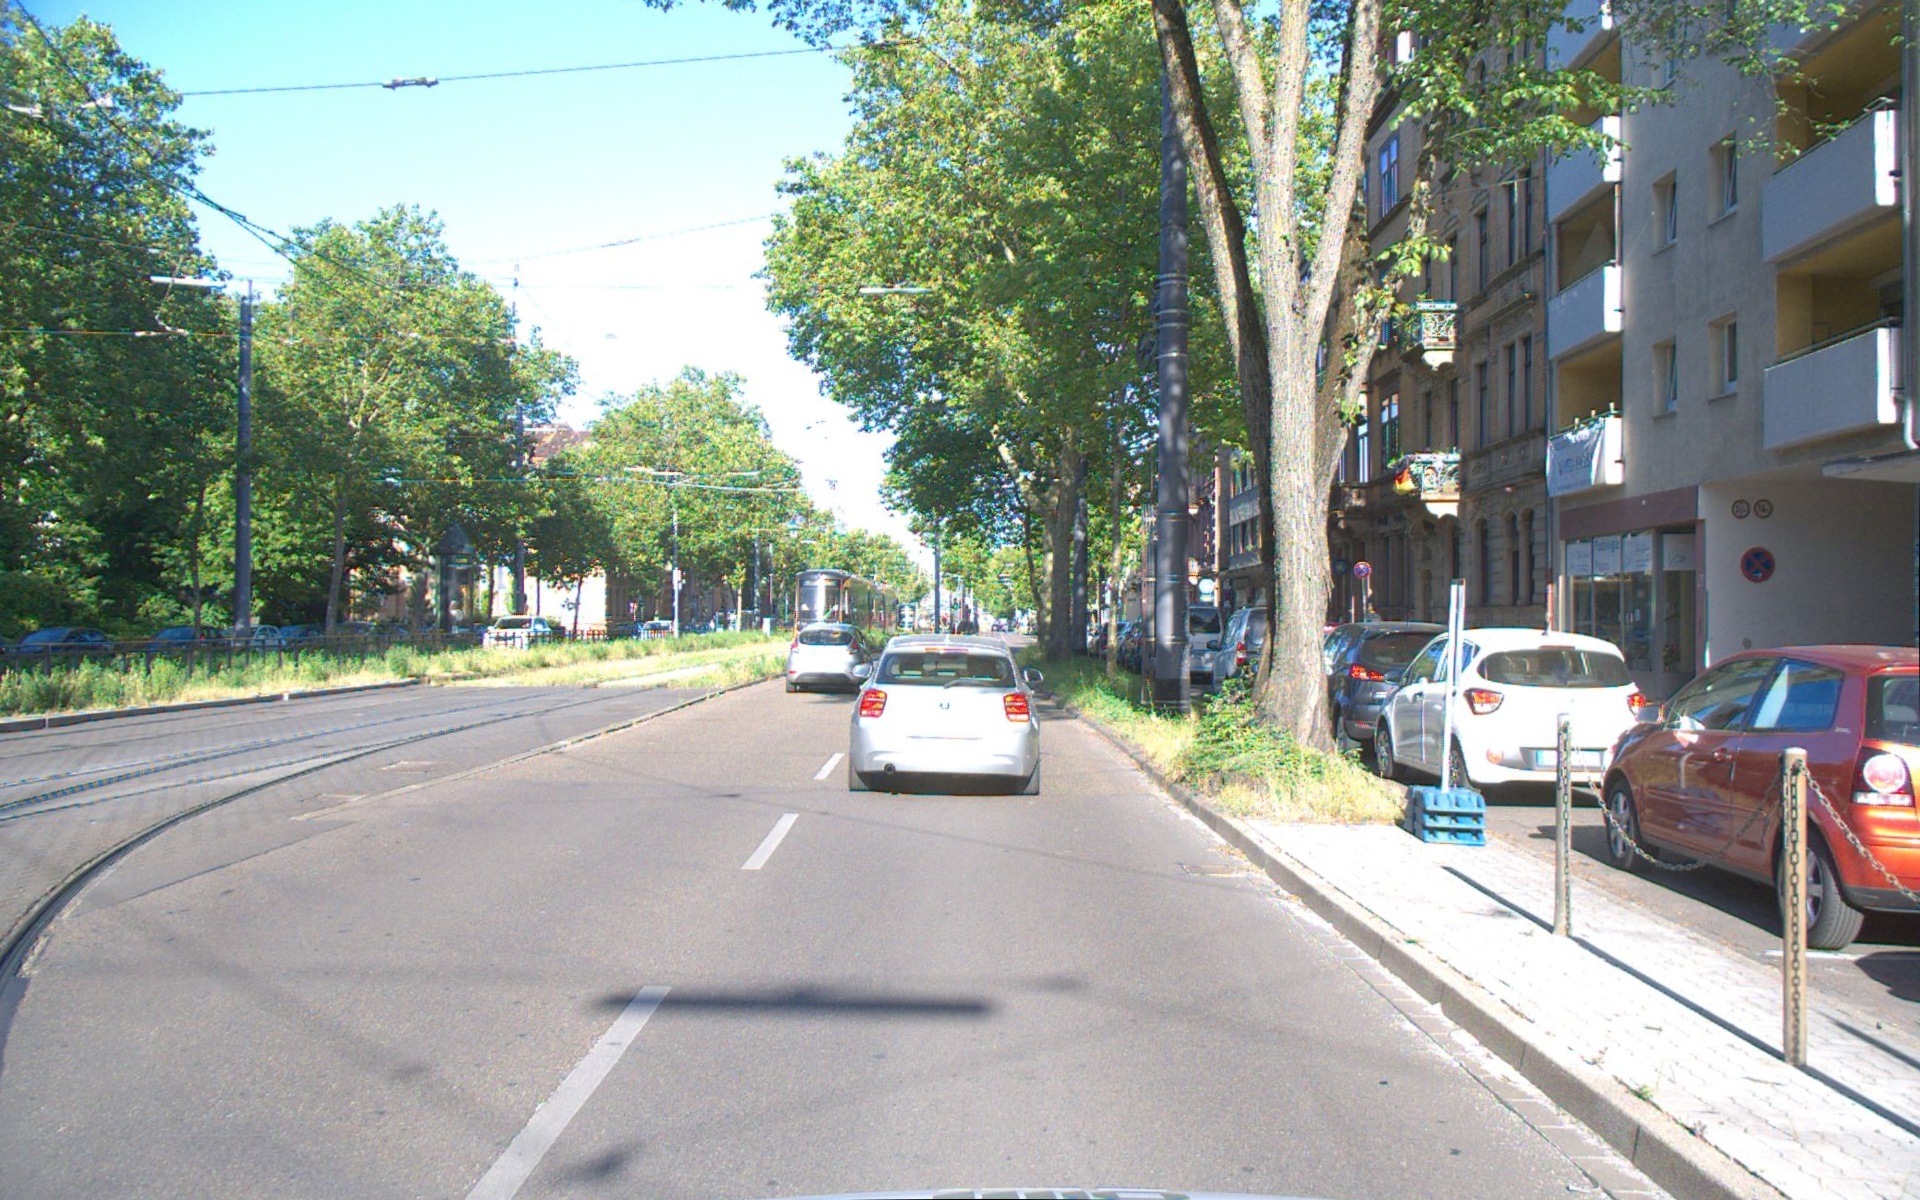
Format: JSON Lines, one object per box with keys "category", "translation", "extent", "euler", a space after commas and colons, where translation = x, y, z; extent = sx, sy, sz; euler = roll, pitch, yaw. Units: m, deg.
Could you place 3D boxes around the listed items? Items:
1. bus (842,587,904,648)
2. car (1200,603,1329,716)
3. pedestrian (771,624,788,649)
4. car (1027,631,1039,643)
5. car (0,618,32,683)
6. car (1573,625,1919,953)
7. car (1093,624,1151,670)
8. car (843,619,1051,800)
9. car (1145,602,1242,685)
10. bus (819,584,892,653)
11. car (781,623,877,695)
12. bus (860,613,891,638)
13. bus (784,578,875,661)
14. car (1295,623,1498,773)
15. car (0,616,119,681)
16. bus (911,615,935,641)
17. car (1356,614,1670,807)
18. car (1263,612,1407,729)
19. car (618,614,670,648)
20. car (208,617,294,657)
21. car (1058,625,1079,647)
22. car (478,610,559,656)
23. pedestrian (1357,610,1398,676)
{"category": "bus", "translation": [-5.291, 1.091, 102.552], "extent": [2.809, 3.504, 11.612], "euler": [1, -1, 2]}
{"category": "car", "translation": [5.082, 0.953, 28.021], "extent": [1.591, 1.697, 4.143], "euler": [2, 0, 3]}
{"category": "pedestrian", "translation": [-12.482, 2.516, 114.360], "extent": [1.154, 1.672, 0.891], "euler": [1, -2, -6]}
{"category": "car", "translation": [10.622, 5.404, 240.888], "extent": [1.665, 1.561, 3.717], "euler": [3, 0, 2]}
{"category": "car", "translation": [-26.651, 1.332, 43.472], "extent": [1.953, 1.713, 4.513], "euler": [3, 0, -1]}
{"category": "car", "translation": [5.024, 0.924, 9.519], "extent": [1.556, 1.459, 3.905], "euler": [3, 0, 1]}
{"category": "car", "translation": [5.778, 1.673, 59.546], "extent": [1.768, 1.516, 4.920], "euler": [3, -1, 3]}
{"category": "car", "translation": [-0.089, 0.962, 16.187], "extent": [1.726, 1.457, 4.000], "euler": [3, 0, 1]}
{"category": "car", "translation": [5.682, 1.025, 40.784], "extent": [1.826, 1.847, 4.800], "euler": [3, 0, 2]}
{"category": "bus", "translation": [-5.582, 1.003, 90.564], "extent": [2.809, 3.504, 12.216], "euler": [1, -1, 2]}
{"category": "car", "translation": [-2.791, 1.235, 35.881], "extent": [1.613, 1.386, 3.760], "euler": [3, 0, 2]}
{"category": "bus", "translation": [-13.187, 3.925, 259.095], "extent": [2.809, 3.692, 24.606], "euler": [1, -1, 2]}
{"category": "bus", "translation": [-5.956, 0.908, 77.889], "extent": [2.809, 3.504, 13.218], "euler": [1, -1, 2]}
{"category": "car", "translation": [5.052, 1.074, 19.588], "extent": [1.529, 1.511, 3.788], "euler": [2, 0, 3]}
{"category": "car", "translation": [-26.657, 1.385, 48.600], "extent": [1.784, 1.713, 4.000], "euler": [3, 0, 0]}
{"category": "bus", "translation": [-5.646, 4.292, 256.228], "extent": [2.693, 3.689, 18.849], "euler": [1, -1, 2]}
{"category": "car", "translation": [4.983, 0.923, 15.414], "extent": [1.593, 1.502, 3.697], "euler": [3, 0, -1]}
{"category": "car", "translation": [5.356, 0.958, 23.939], "extent": [1.480, 1.506, 3.493], "euler": [2, 0, 4]}
{"category": "car", "translation": [-15.615, 1.527, 81.944], "extent": [1.807, 1.557, 3.874], "euler": [3, 0, -1]}
{"category": "car", "translation": [-25.932, 1.341, 60.587], "extent": [1.536, 1.335, 3.504], "euler": [3, 0, 1]}
{"category": "car", "translation": [10.106, 3.354, 154.363], "extent": [1.718, 1.999, 4.737], "euler": [1, -1, 1]}
{"category": "car", "translation": [-17.381, 1.272, 65.307], "extent": [1.847, 1.648, 4.598], "euler": [3, 0, 0]}
{"category": "pedestrian", "translation": [11.896, 1.218, 47.153], "extent": [0.978, 1.872, 0.715], "euler": [1, -1, 3]}
